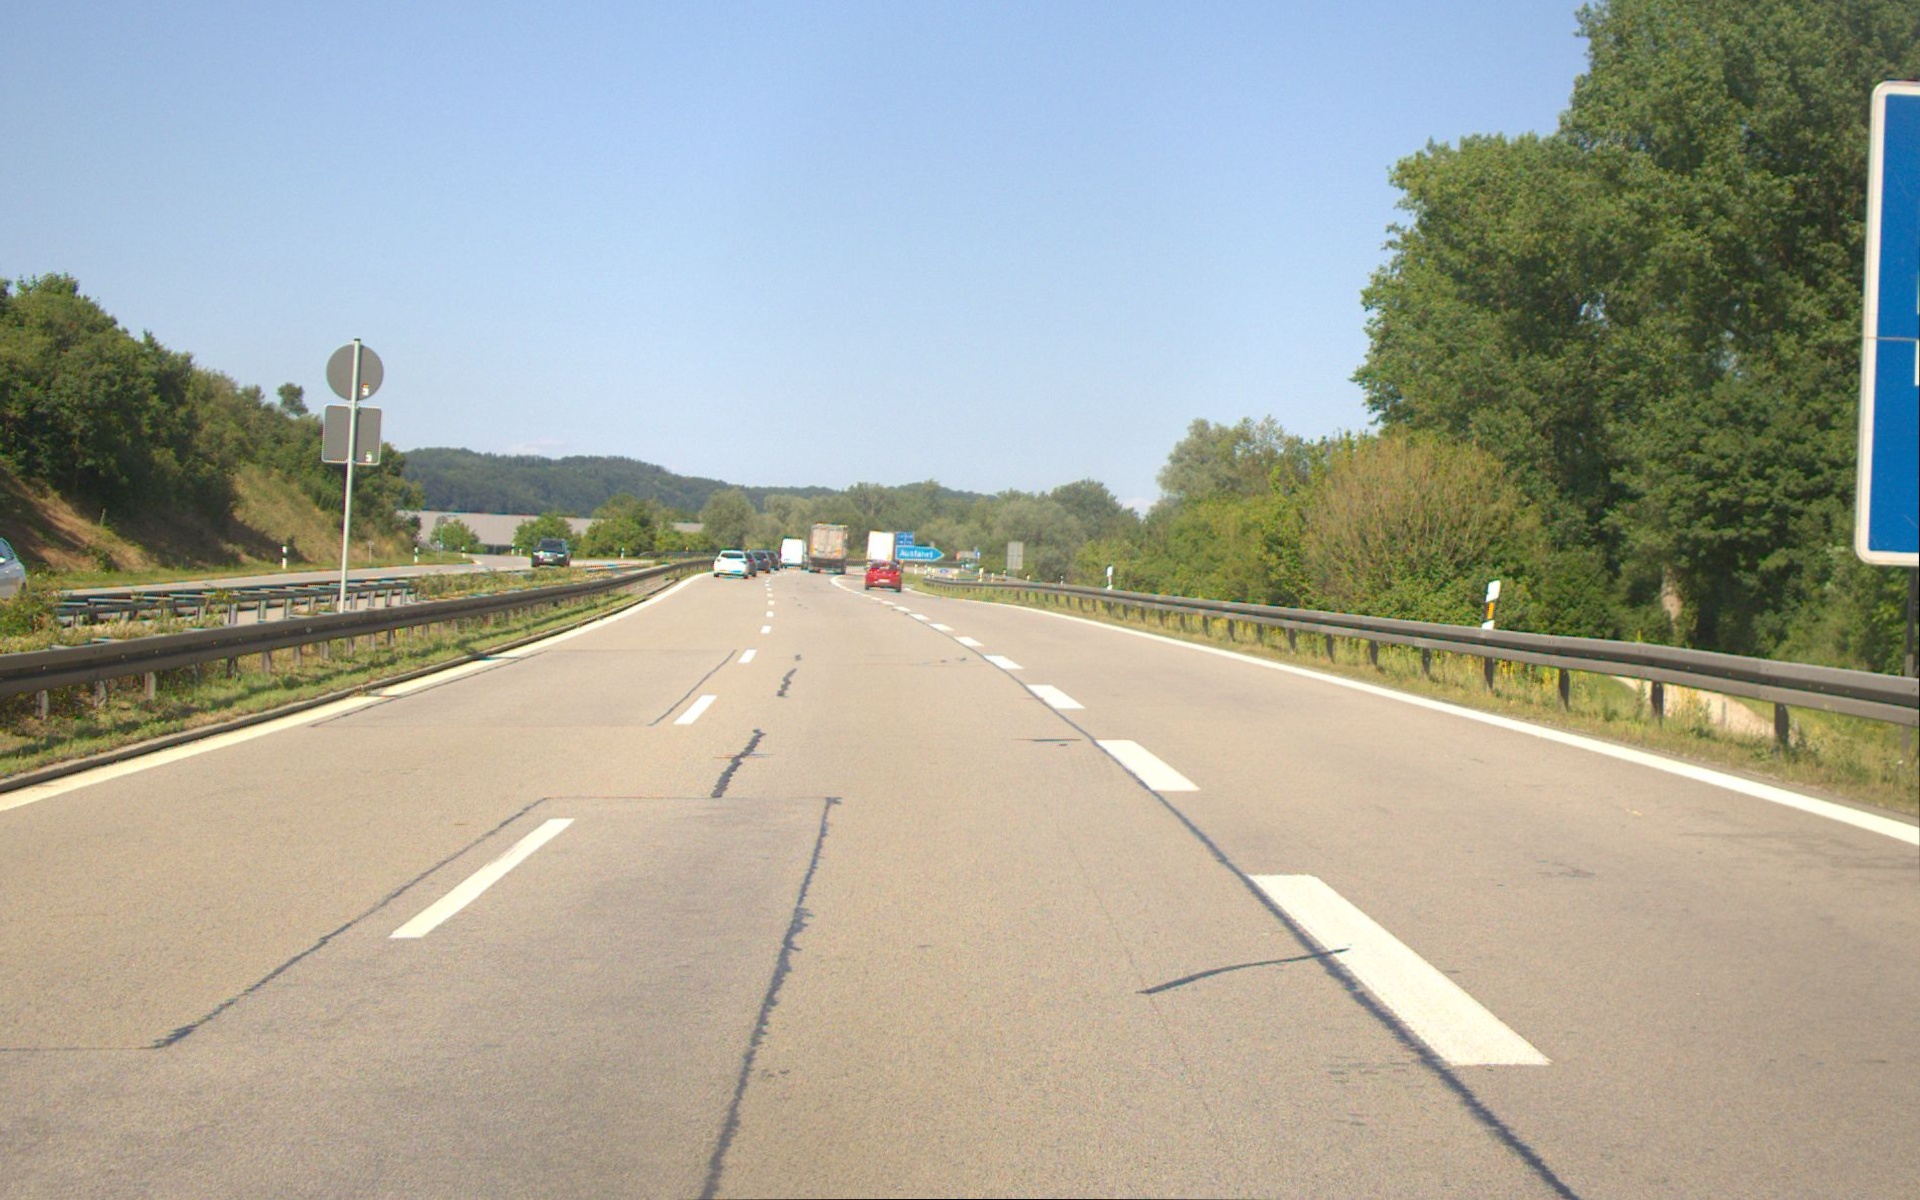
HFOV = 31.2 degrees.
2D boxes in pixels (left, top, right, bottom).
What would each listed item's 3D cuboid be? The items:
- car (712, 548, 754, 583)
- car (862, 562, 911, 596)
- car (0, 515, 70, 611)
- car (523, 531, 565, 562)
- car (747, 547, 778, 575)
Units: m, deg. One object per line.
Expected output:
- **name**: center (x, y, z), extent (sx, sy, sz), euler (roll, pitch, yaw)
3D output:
- **car**: center (-11.773, -1.759, 178.378), extent (2.061, 1.619, 4.000), euler (1, -2, -3)
- **car**: center (-3.540, -1.011, 166.045), extent (1.784, 1.426, 3.999), euler (5, 0, 6)
- **car**: center (-15.395, -0.618, 53.922), extent (1.839, 1.434, 4.413), euler (1, 1, -2)
- **car**: center (-23.749, -3.036, 196.343), extent (1.993, 1.639, 5.084), euler (1, 0, -3)
- **car**: center (-13.399, -2.644, 233.244), extent (1.993, 1.744, 4.001), euler (3, 1, -3)
